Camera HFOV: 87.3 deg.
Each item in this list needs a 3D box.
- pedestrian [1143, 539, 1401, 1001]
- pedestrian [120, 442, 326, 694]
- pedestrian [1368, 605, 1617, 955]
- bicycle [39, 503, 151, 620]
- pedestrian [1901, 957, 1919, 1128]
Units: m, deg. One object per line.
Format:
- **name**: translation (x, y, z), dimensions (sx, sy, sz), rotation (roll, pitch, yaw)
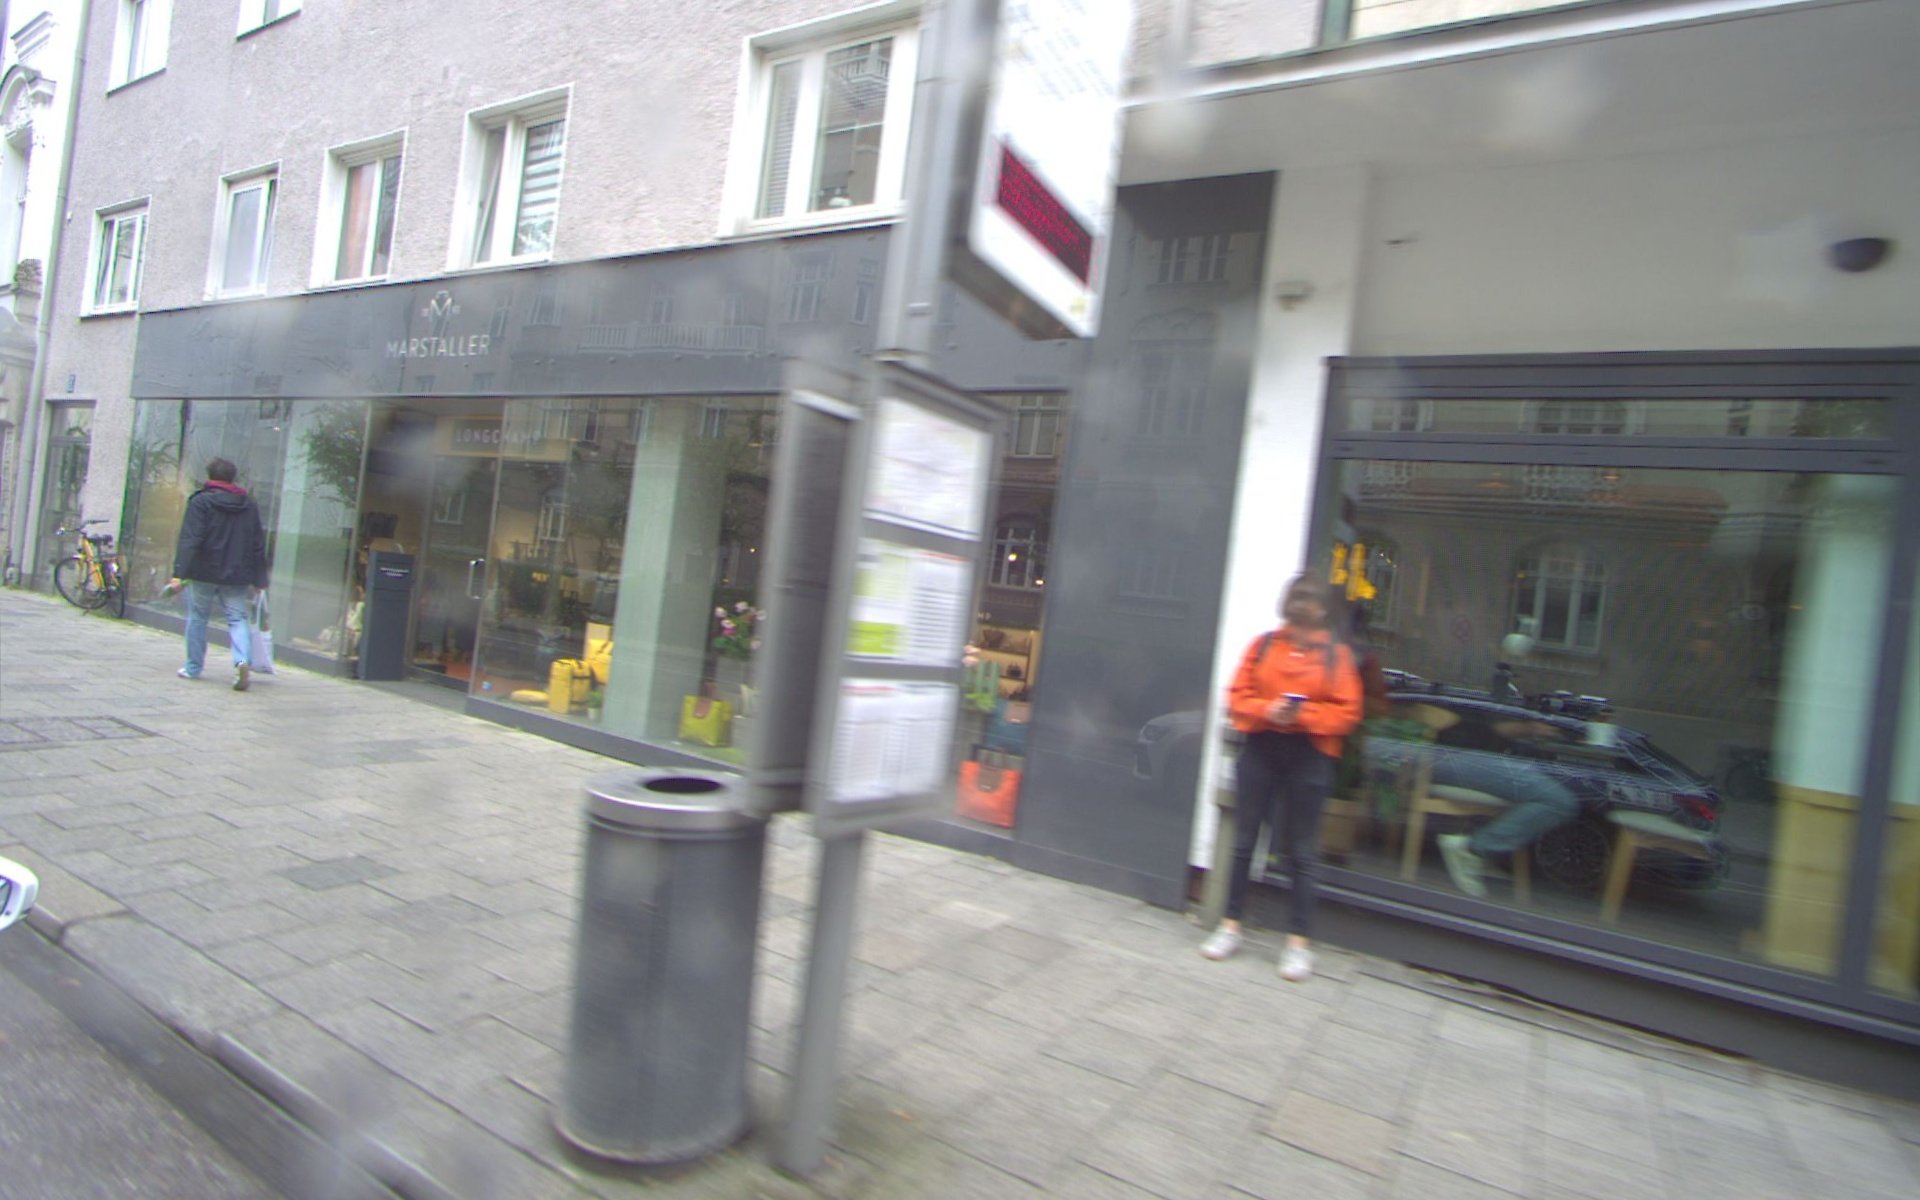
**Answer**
- **pedestrian**: translation (1.372, 0.674, 4.383), dimensions (0.734, 1.755, 0.703), rotation (7, 1, 32)
- **pedestrian**: translation (-6.206, -0.267, 8.478), dimensions (1.159, 1.935, 0.928), rotation (7, 2, 32)
- **pedestrian**: translation (2.527, 0.792, 4.793), dimensions (0.829, 1.405, 0.771), rotation (7, 1, 31)
- **bicycle**: translation (-10.676, -0.486, 12.395), dimensions (1.790, 1.277, 0.512), rotation (7, 4, 32)
- **pedestrian**: translation (3.566, 1.128, 2.985), dimensions (0.848, 1.369, 0.861), rotation (7, 0, 32)
